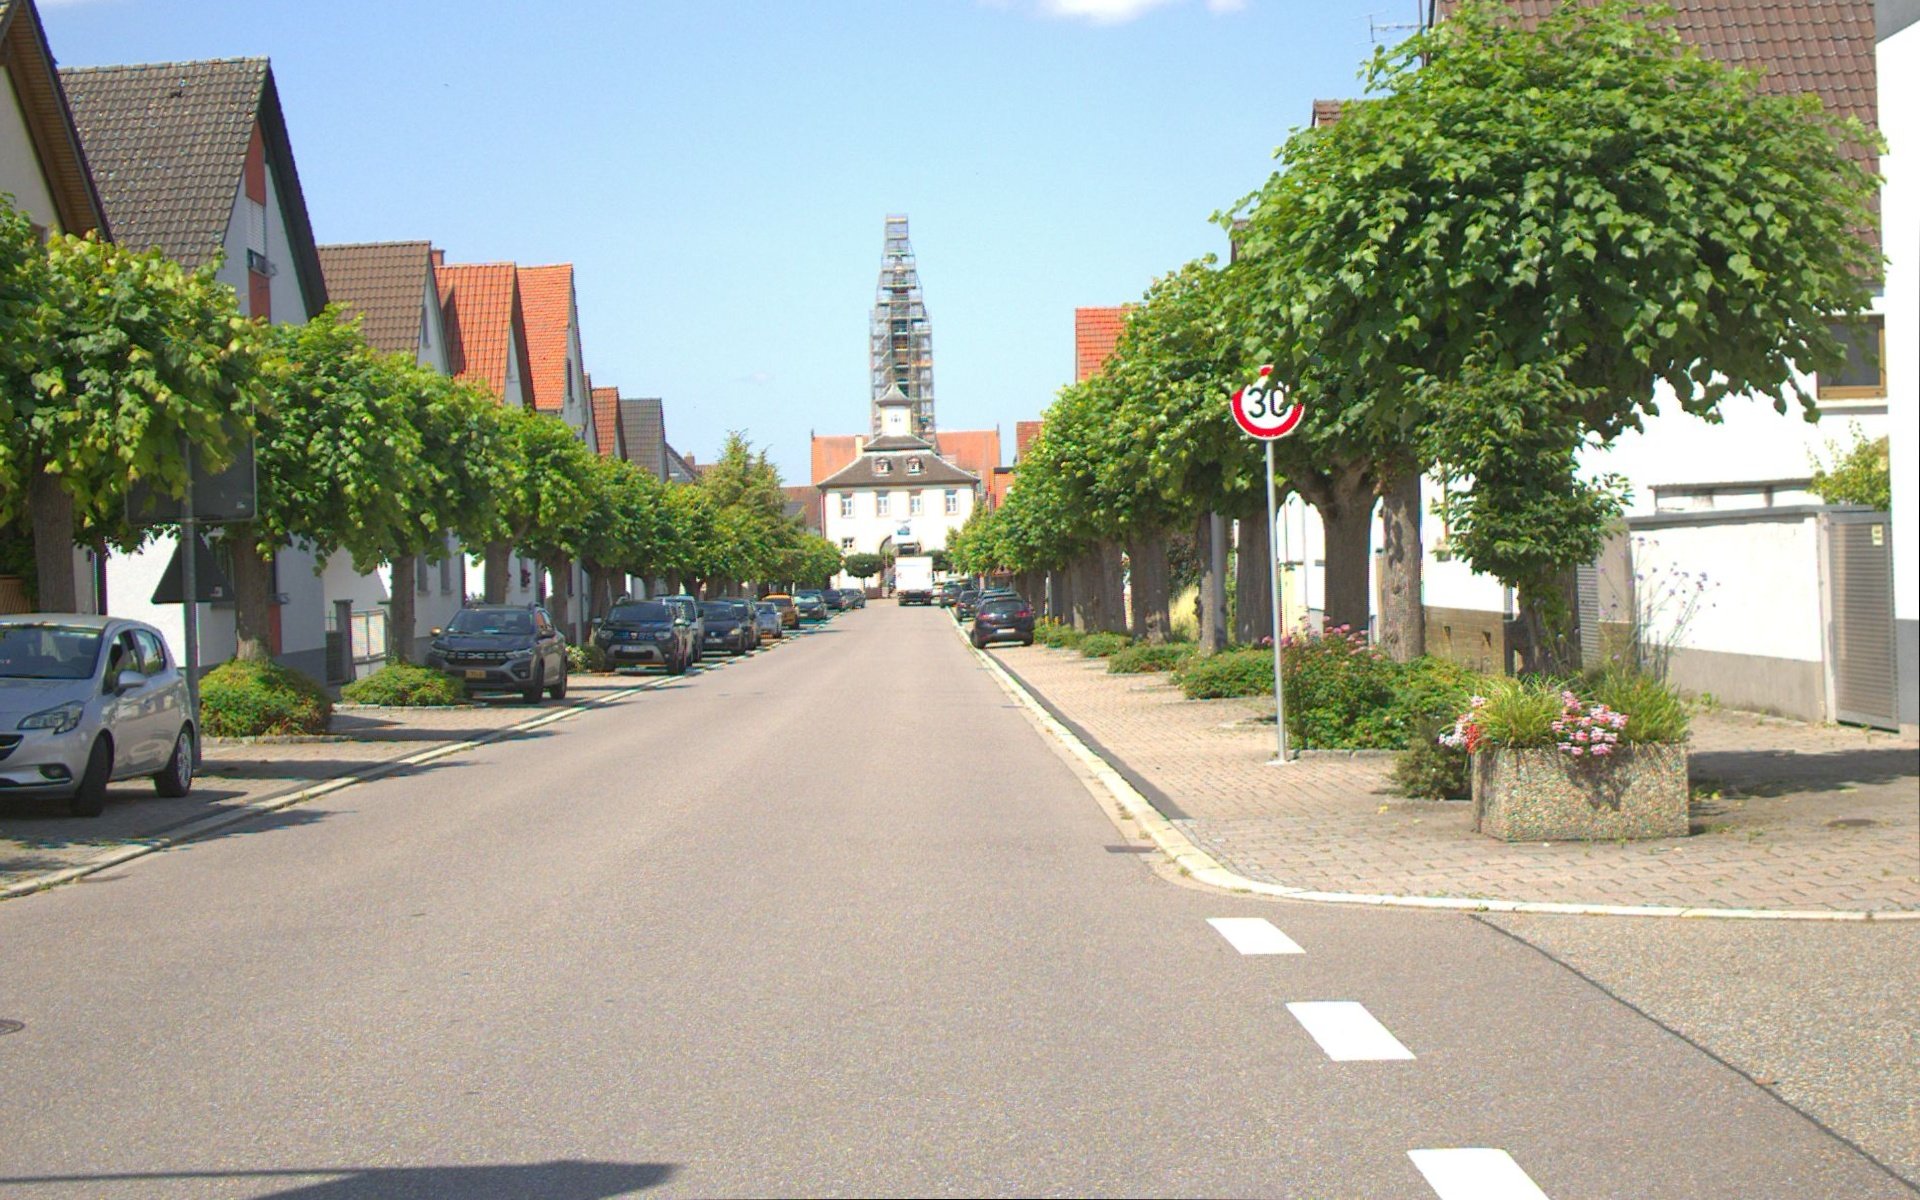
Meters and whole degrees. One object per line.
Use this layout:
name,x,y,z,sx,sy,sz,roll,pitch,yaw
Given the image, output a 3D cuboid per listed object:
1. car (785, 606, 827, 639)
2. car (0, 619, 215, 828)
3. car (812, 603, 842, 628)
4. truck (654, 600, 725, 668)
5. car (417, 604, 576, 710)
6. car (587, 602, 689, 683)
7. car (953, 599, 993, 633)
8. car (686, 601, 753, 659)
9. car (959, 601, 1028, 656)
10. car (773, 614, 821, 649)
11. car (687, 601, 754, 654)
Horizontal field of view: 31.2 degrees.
car,-8.221,1.181,183.933,1.993,1.606,4.689,1,1,0
car,-7.129,0.893,26.620,1.825,1.478,4.132,0,0,0
car,-8.774,1.011,226.804,1.757,1.550,4.020,-2,0,0
truck,-7.154,0.891,91.120,1.576,1.759,4.192,0,0,-1
car,-7.296,0.872,54.484,1.853,1.607,4.134,0,0,1
car,-6.955,0.893,74.607,1.853,1.631,4.299,1,1,-1
car,0.625,0.770,169.781,1.837,1.550,4.314,-3,0,-1
car,-6.986,0.868,99.788,1.785,1.628,4.001,0,0,-6
car,0.953,0.803,100.168,1.824,1.427,4.057,-4,0,-1
car,-7.669,1.451,161.777,1.993,1.606,4.689,0,0,0
car,-7.470,0.857,107.637,1.853,1.629,4.057,0,0,-1
